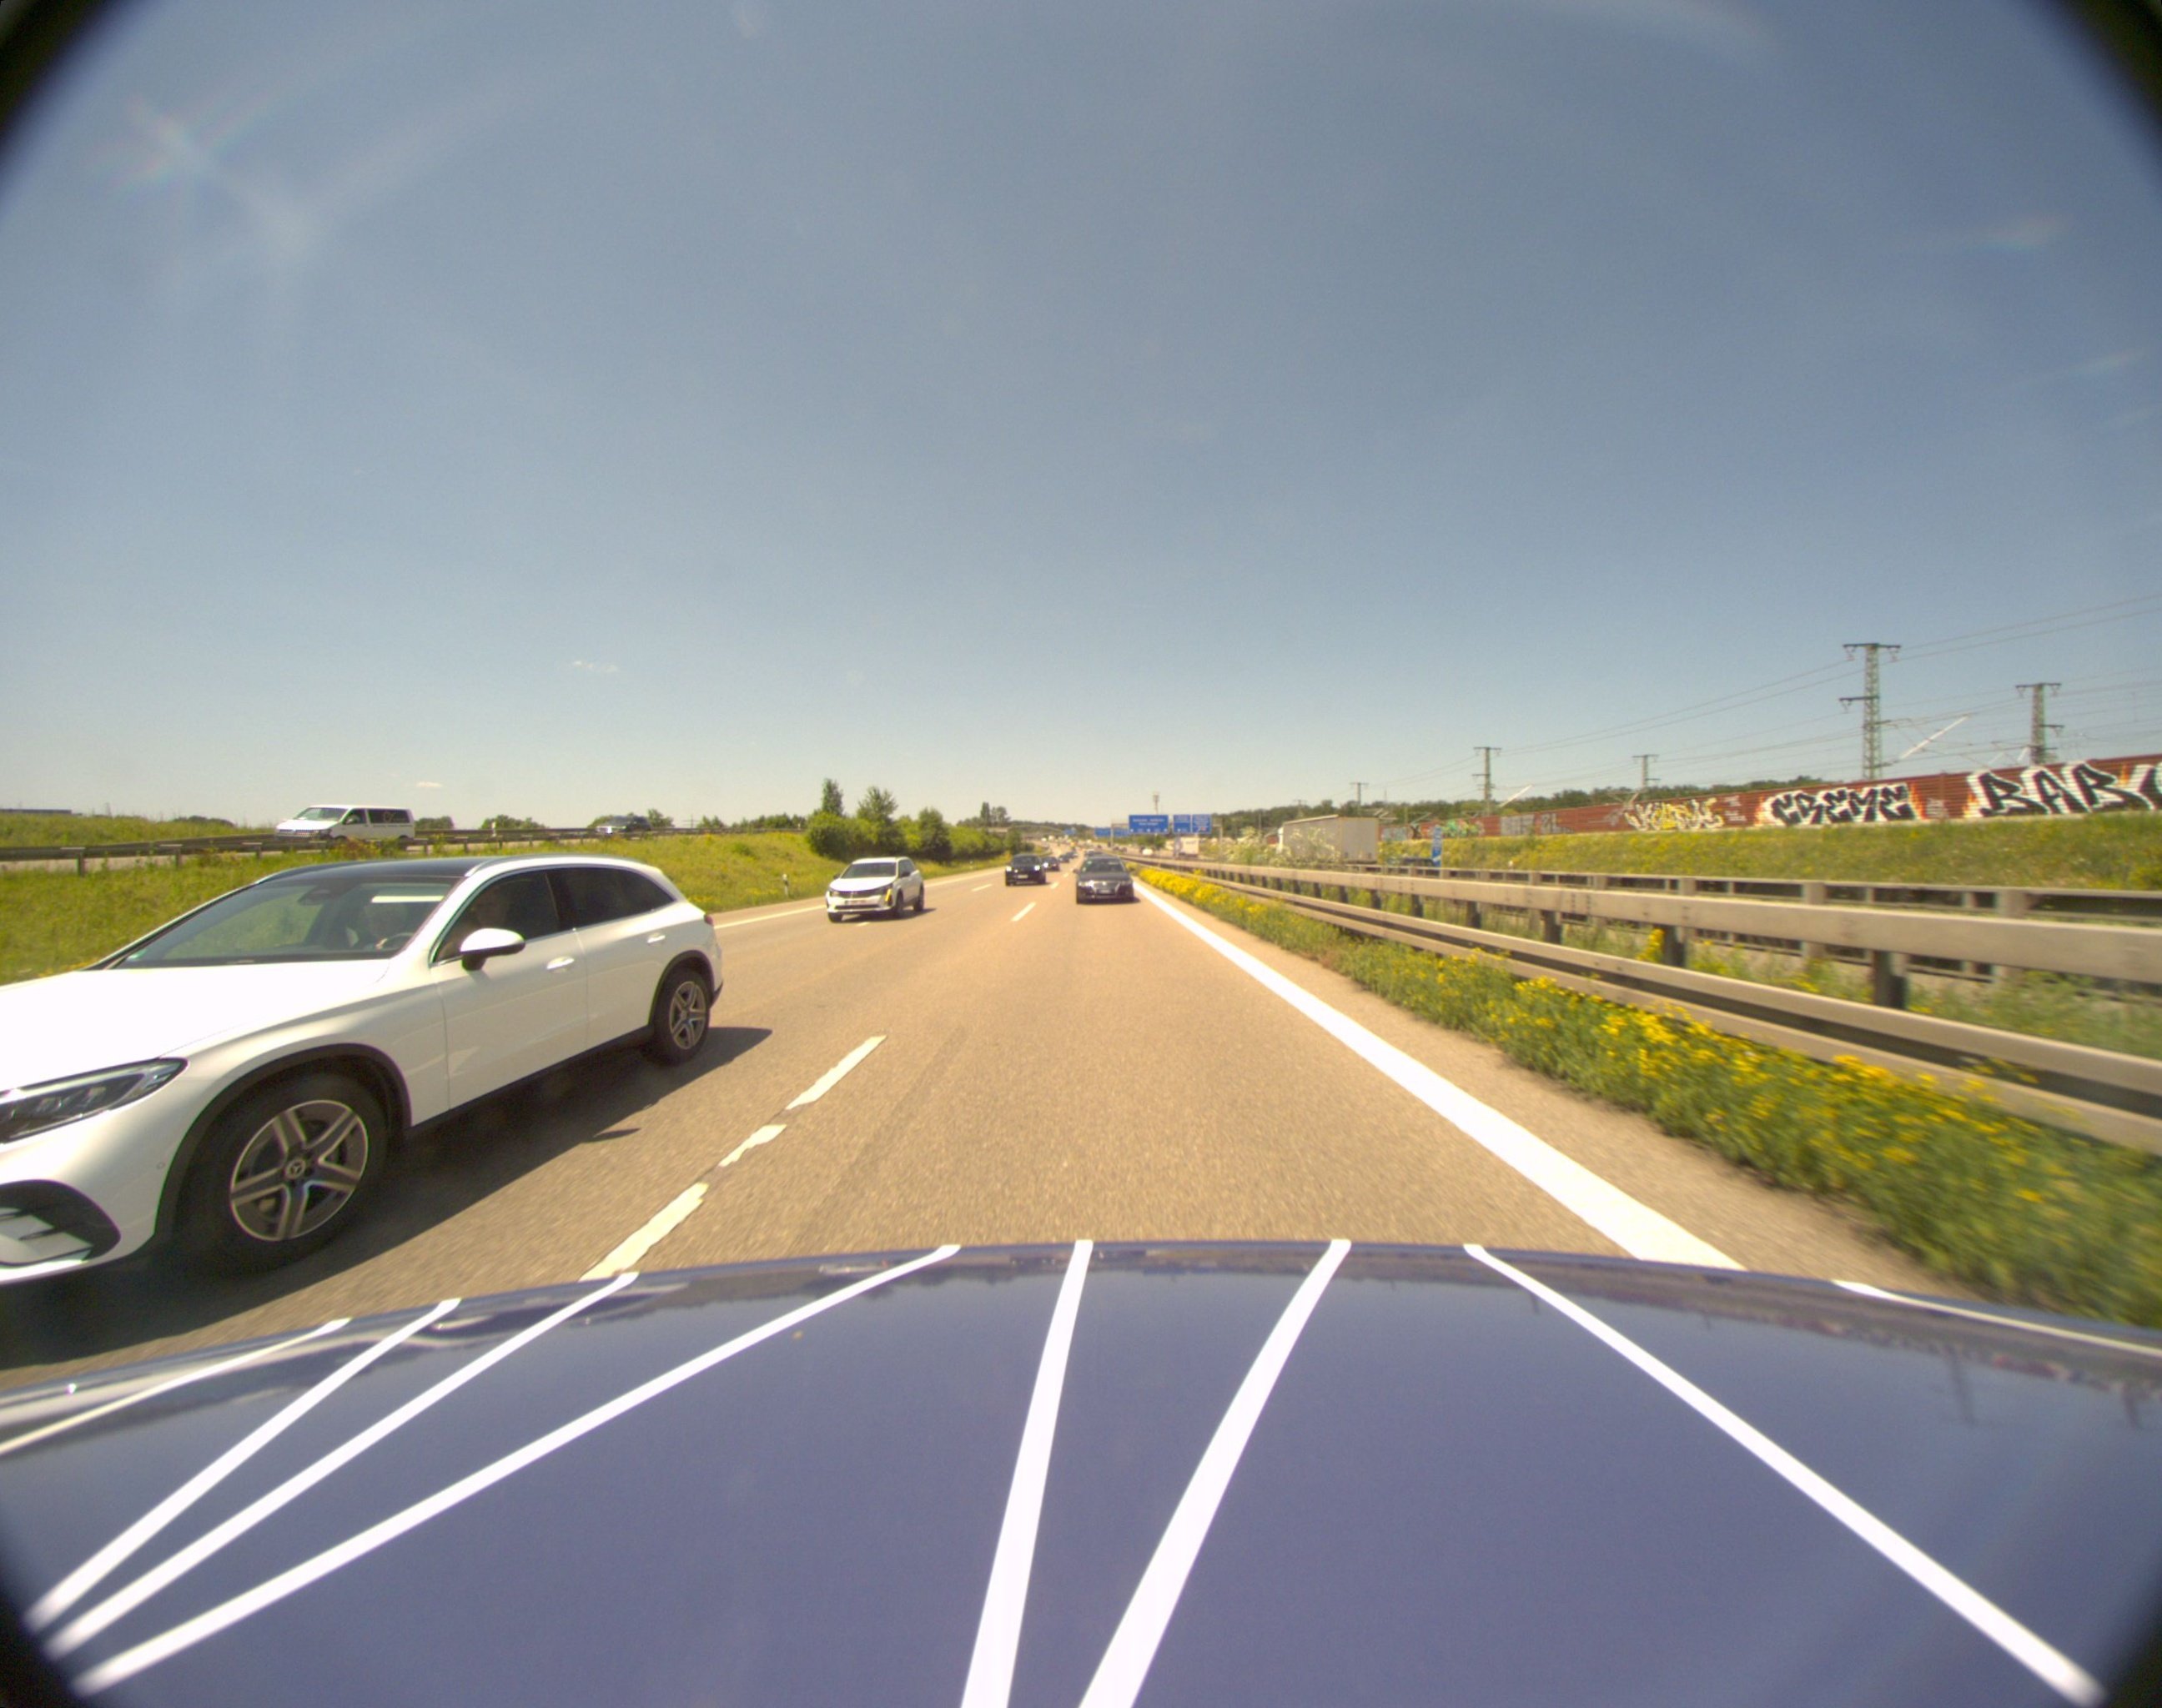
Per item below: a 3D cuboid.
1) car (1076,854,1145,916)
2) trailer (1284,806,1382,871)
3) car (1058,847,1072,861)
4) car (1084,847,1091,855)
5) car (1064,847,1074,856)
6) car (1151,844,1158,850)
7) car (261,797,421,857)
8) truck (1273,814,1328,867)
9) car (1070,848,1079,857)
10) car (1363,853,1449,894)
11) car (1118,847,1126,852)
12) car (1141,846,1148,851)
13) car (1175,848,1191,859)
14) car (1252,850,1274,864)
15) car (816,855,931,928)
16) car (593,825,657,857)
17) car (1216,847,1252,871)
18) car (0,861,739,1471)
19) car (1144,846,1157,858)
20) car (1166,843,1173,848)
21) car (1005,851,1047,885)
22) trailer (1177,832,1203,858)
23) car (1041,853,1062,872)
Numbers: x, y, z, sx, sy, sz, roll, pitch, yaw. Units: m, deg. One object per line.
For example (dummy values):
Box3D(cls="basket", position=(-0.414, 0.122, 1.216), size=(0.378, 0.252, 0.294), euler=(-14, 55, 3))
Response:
Box3D(cls="car", position=(0.751, 0.814, 21.940), size=(1.752, 1.462, 3.998), euler=(-2, 2, 0))
Box3D(cls="trailer", position=(17.422, -1.010, 53.789), size=(2.737, 4.050, 13.529), euler=(0, 0, 1))
Box3D(cls="car", position=(-2.529, -0.003, 119.018), size=(1.999, 2.002, 3.999), euler=(-2, 1, 0))
Box3D(cls="car", position=(1.901, -0.933, 216.473), size=(1.998, 2.002, 3.999), euler=(-3, 2, 1))
Box3D(cls="car", position=(-2.488, -0.548, 162.971), size=(1.999, 1.691, 3.999), euler=(-2, 1, 0))
Box3D(cls="car", position=(24.702, -2.361, 256.259), size=(1.998, 1.716, 4.512), euler=(-2, 1, 1))
Box3D(cls="car", position=(-29.545, -1.010, 30.623), size=(2.000, 2.159, 4.890), euler=(-2, 0, -7))
Box3D(cls="truck", position=(17.608, -1.070, 61.406), size=(2.736, 4.048, 6.380), euler=(0, 1, 2))
Box3D(cls="car", position=(-1.484, -0.454, 181.882), size=(1.998, 2.002, 3.999), euler=(-3, 2, 1))
Box3D(cls="car", position=(12.831, 0.731, 30.257), size=(1.820, 1.470, 3.842), euler=(-1, 0, 1))
Box3D(cls="car", position=(12.218, -1.382, 226.452), size=(1.998, 1.455, 4.384), euler=(-2, 1, 1))
Box3D(cls="car", position=(20.252, -1.685, 241.771), size=(1.998, 1.478, 3.931), euler=(0, 1, 1))
Box3D(cls="car", position=(14.935, -0.070, 111.765), size=(1.820, 1.637, 4.362), euler=(-1, 1, 1))
Box3D(cls="car", position=(21.508, 0.324, 90.048), size=(1.758, 1.510, 3.836), euler=(-1, 1, 1))
Box3D(cls="car", position=(-5.608, 0.932, 21.162), size=(1.898, 1.620, 4.615), euler=(-2, 1, 0))
Box3D(cls="car", position=(-31.298, -0.905, 52.244), size=(1.999, 2.002, 3.998), euler=(-3, 2, -3))
Box3D(cls="car", position=(10.073, 0.310, 50.318), size=(1.649, 1.470, 3.814), euler=(-1, 0, 1))
Box3D(cls="car", position=(-4.033, 0.946, 4.371), size=(1.909, 1.646, 4.636), euler=(-2, 1, 1))
Box3D(cls="car", position=(11.514, -0.344, 126.343), size=(1.820, 1.775, 4.538), euler=(-1, 1, 1))
Box3D(cls="car", position=(30.792, -2.853, 264.181), size=(1.998, 1.716, 4.512), euler=(-2, 1, 2))
Box3D(cls="car", position=(-2.913, 0.701, 41.230), size=(1.983, 1.620, 4.615), euler=(-2, 1, -1))
Box3D(cls="trailer", position=(18.728, -1.516, 131.406), size=(2.895, 4.382, 12.091), euler=(0, 1, 1))
Box3D(cls="car", position=(-2.580, 0.691, 66.838), size=(1.752, 1.462, 3.998), euler=(-2, 2, -2))
